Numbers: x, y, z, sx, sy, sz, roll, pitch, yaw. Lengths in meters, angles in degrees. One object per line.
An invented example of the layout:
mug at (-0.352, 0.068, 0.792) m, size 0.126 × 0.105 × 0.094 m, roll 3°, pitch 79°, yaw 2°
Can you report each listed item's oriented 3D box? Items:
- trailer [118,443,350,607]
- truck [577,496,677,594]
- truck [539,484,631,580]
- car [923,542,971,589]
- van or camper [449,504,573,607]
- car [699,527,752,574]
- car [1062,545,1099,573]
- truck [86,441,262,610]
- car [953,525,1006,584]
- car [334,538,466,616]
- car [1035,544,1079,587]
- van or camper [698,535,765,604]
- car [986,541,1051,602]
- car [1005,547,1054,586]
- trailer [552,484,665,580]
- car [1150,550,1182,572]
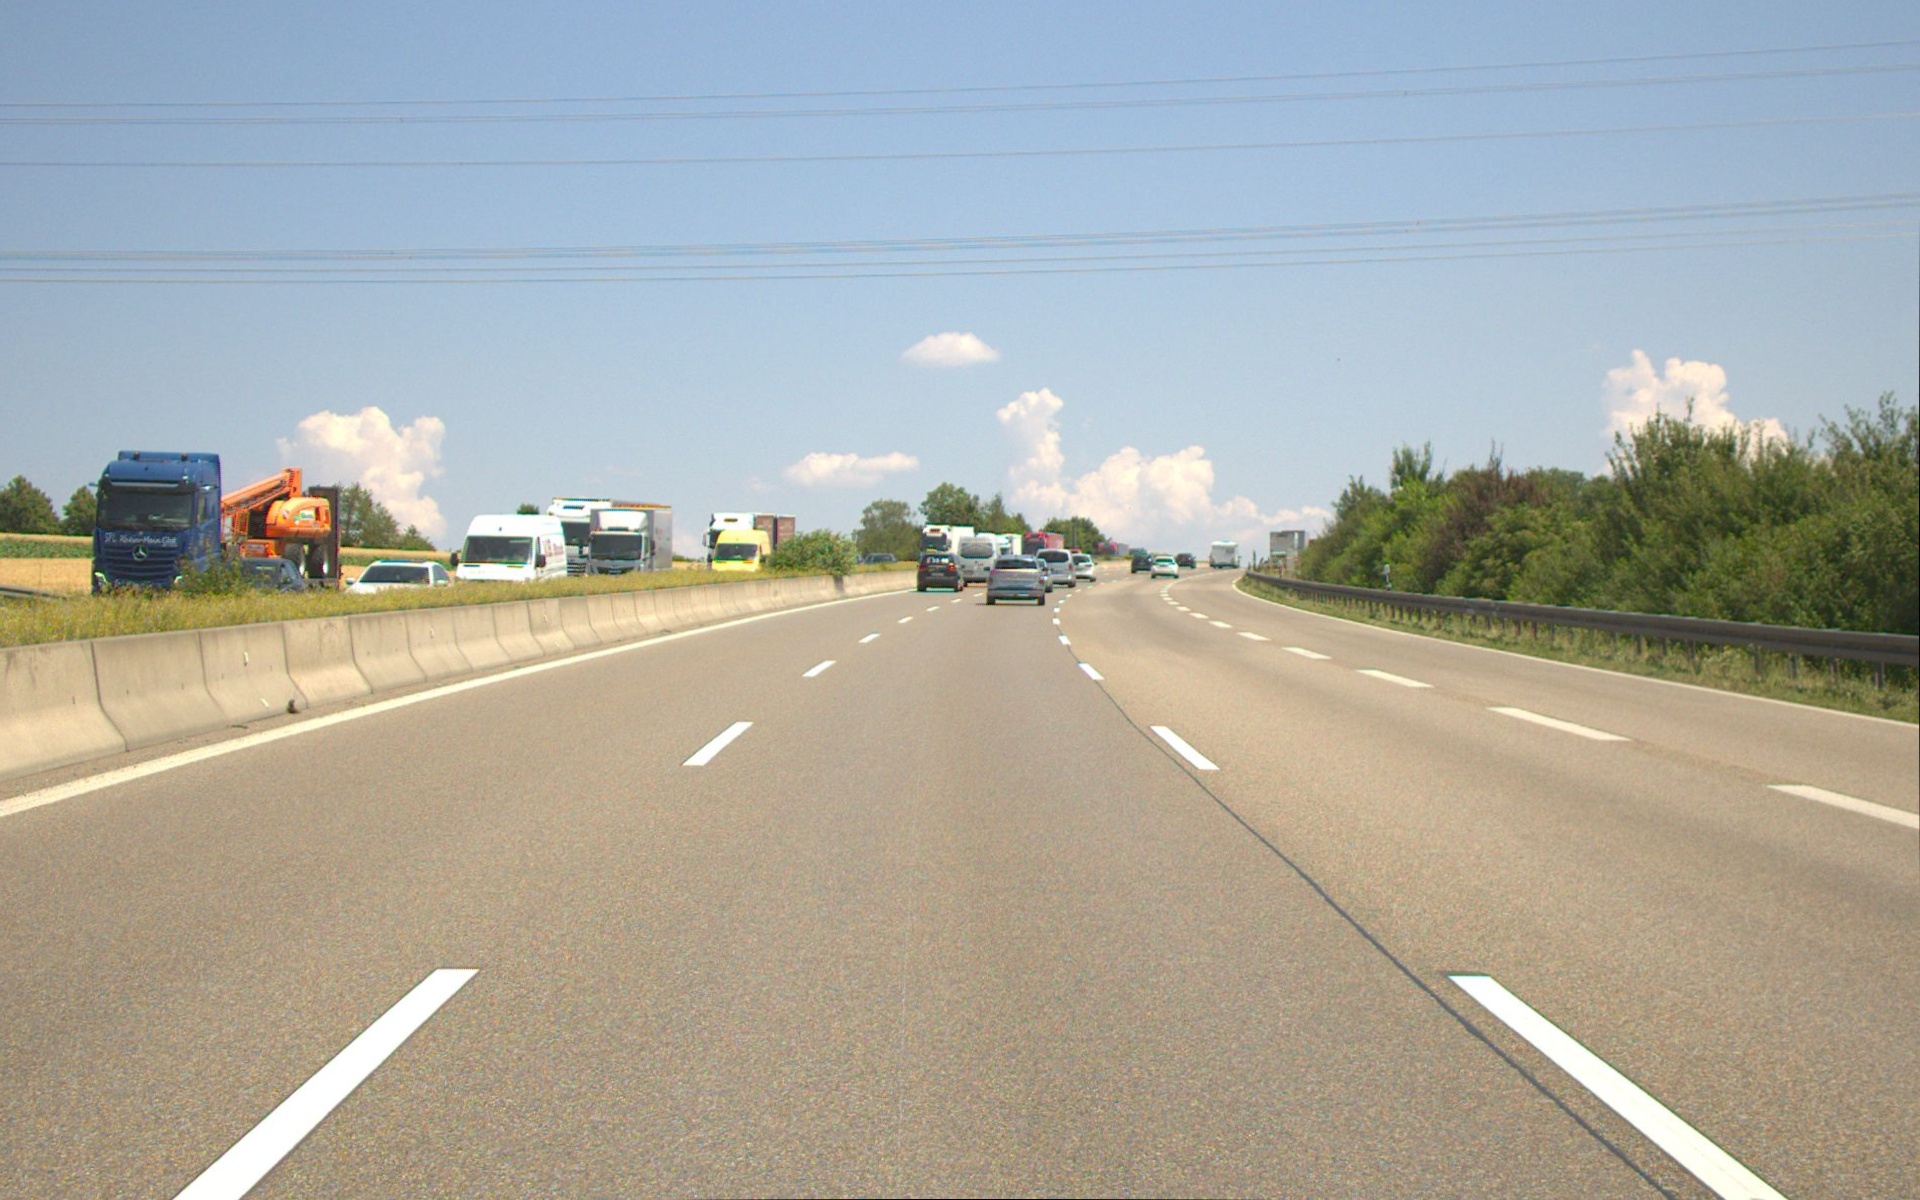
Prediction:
trailer at (-18.831, -1.894, 90.207) m, size 2.839 × 3.944 × 13.727 m, roll 1°, pitch 1°, yaw 1°
truck at (-13.022, -2.174, 135.085) m, size 2.936 × 3.730 × 7.779 m, roll 1°, pitch 1°, yaw 1°
truck at (-16.223, -2.920, 149.068) m, size 2.853 × 4.013 × 6.514 m, roll 1°, pitch 1°, yaw 4°
car at (-0.535, -1.466, 144.801) m, size 1.847 × 1.854 × 4.205 m, roll 1°, pitch 2°, yaw 2°
van or camper at (-11.298, -1.115, 87.081) m, size 2.067 × 2.455 × 7.520 m, roll -1°, pitch 1°, yaw 0°
car at (-13.496, -2.876, 198.045) m, size 2.331 × 2.549 × 5.605 m, roll 1°, pitch 2°, yaw 3°
car at (7.049, -2.413, 200.639) m, size 1.994 × 1.546 × 4.000 m, roll 2°, pitch 1°, yaw 4°
truck at (-18.975, -1.794, 83.308) m, size 2.776 × 3.924 × 6.138 m, roll 1°, pitch 1°, yaw 1°
car at (0.967, -2.170, 165.706) m, size 2.180 × 2.616 × 4.671 m, roll 1°, pitch -2°, yaw 5°
car at (-11.901, -0.513, 73.383) m, size 1.926 × 1.582 × 5.669 m, roll 1°, pitch 1°, yaw -1°
car at (4.673, -1.652, 165.800) m, size 1.994 × 1.897 × 3.999 m, roll 0°, pitch -2°, yaw 3°
van or camper at (-9.289, -1.268, 140.118) m, size 2.084 × 2.698 × 6.139 m, roll 1°, pitch 1°, yaw 2°
car at (1.855, -0.884, 108.645) m, size 1.993 × 1.744 × 3.999 m, roll 1°, pitch -2°, yaw 1°
car at (2.920, -1.408, 144.964) m, size 1.993 × 1.579 × 4.000 m, roll 0°, pitch -1°, yaw 0°
trailer at (-15.797, -3.006, 155.482) m, size 2.793 × 4.091 × 14.005 m, roll 1°, pitch 1°, yaw 3°
car at (13.789, -2.599, 230.065) m, size 1.902 × 1.437 × 3.999 m, roll 1°, pitch 1°, yaw 7°
